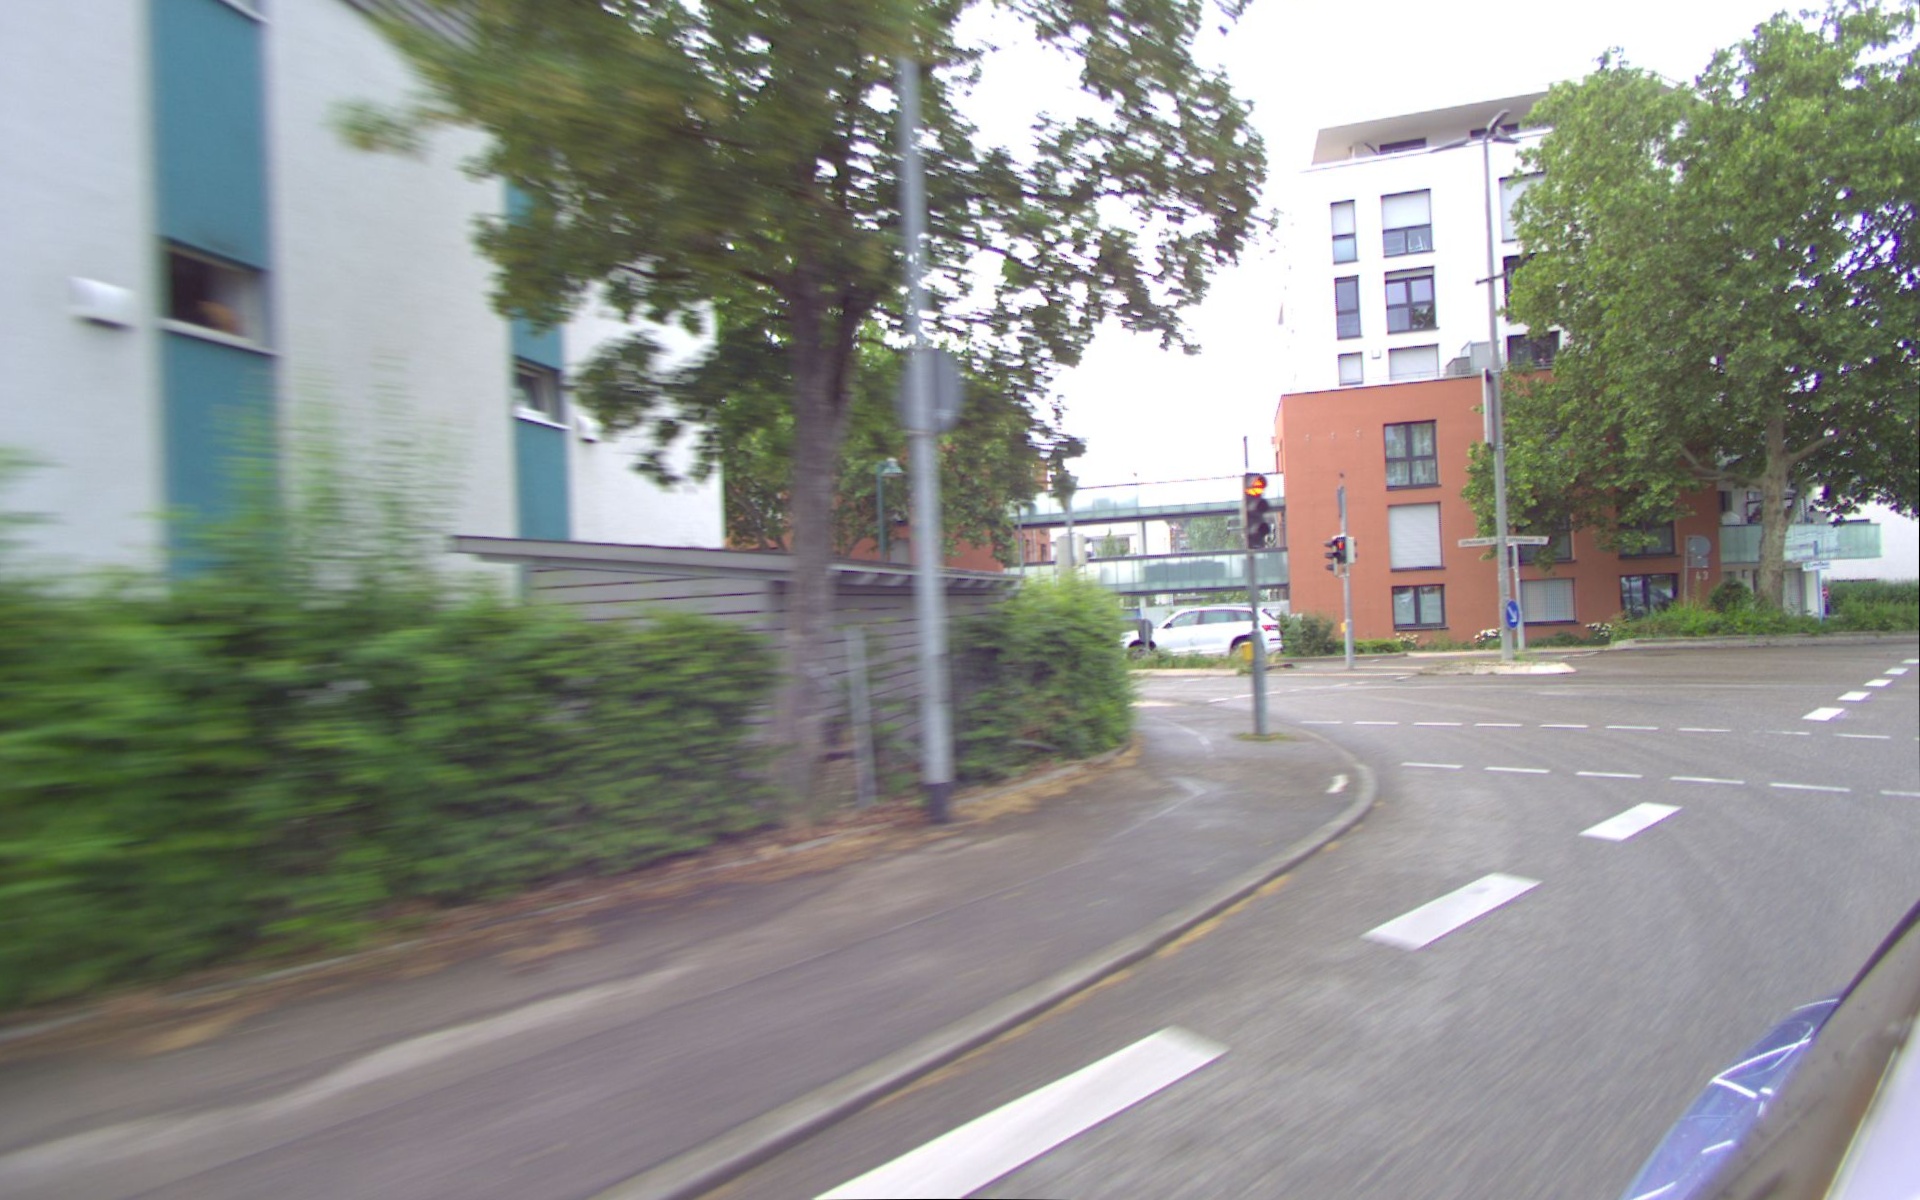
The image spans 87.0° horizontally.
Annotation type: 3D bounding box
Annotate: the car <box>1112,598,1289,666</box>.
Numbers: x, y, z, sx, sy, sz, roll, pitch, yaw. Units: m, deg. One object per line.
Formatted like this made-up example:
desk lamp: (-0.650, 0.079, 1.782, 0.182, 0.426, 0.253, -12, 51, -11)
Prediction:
car: (6.527, 0.871, 27.809, 4.544, 1.659, 1.667, -2, -1, 11)
